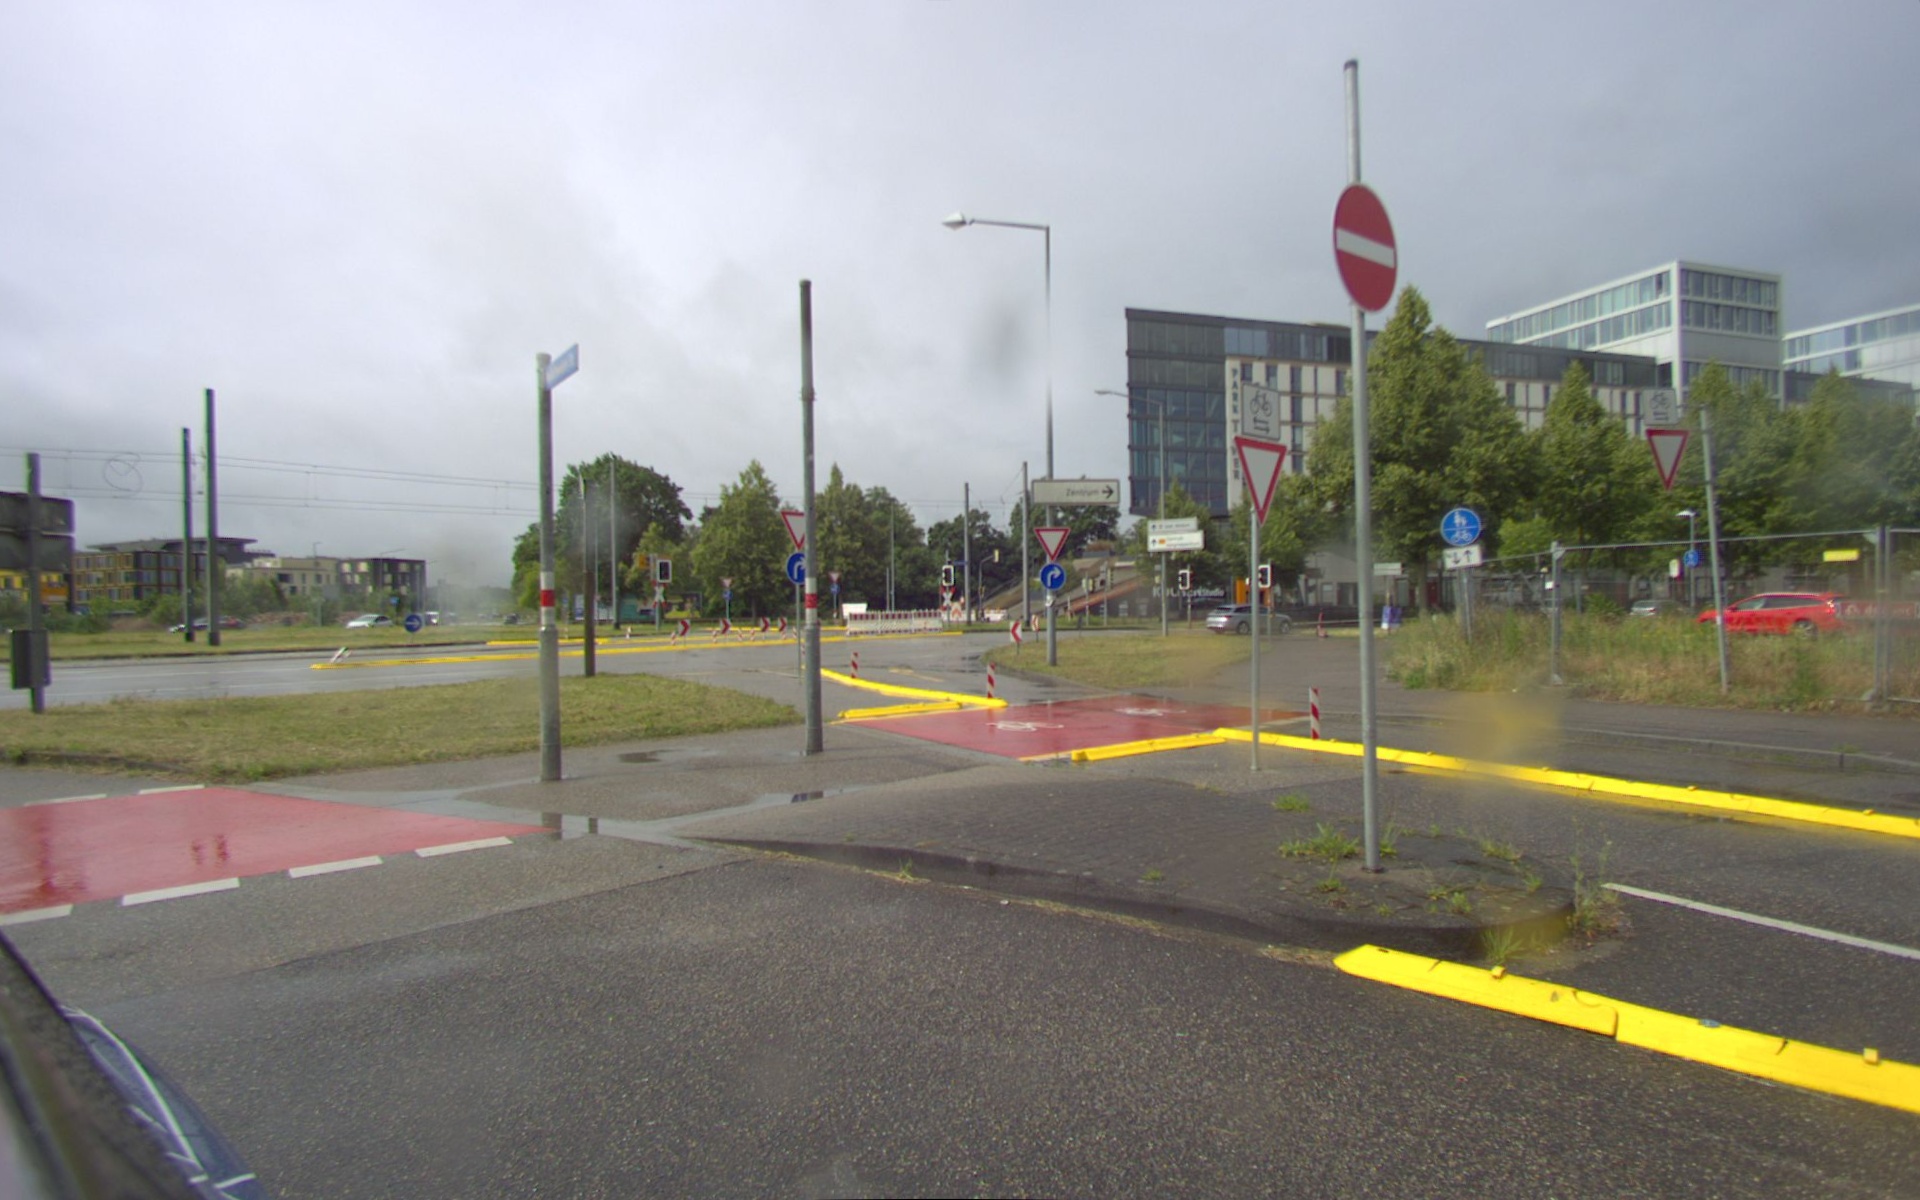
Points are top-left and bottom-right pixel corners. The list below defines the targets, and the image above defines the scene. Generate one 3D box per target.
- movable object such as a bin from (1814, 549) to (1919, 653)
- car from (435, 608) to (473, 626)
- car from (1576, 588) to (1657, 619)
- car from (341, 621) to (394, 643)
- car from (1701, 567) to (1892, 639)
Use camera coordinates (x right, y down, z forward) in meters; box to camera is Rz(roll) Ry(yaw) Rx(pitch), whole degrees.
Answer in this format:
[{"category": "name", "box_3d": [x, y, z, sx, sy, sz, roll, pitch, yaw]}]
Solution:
[{"category": "movable object such as a bin", "box_3d": [25.380, -0.040, 25.085, 6.510, 2.405, 2.681, -1, 0, -8]}, {"category": "car", "box_3d": [-45.738, 1.549, 91.488, 1.646, 1.541, 3.480, -2, -1, 0]}, {"category": "car", "box_3d": [37.197, 0.188, 57.364, 3.706, 1.630, 1.834, -2, -1, -18]}, {"category": "car", "box_3d": [-45.823, 2.467, 78.311, 1.646, 1.541, 4.118, -2, -1, 0]}, {"category": "car", "box_3d": [25.401, 0.091, 30.906, 1.965, 2.029, 4.013, -1, 0, -22]}]
